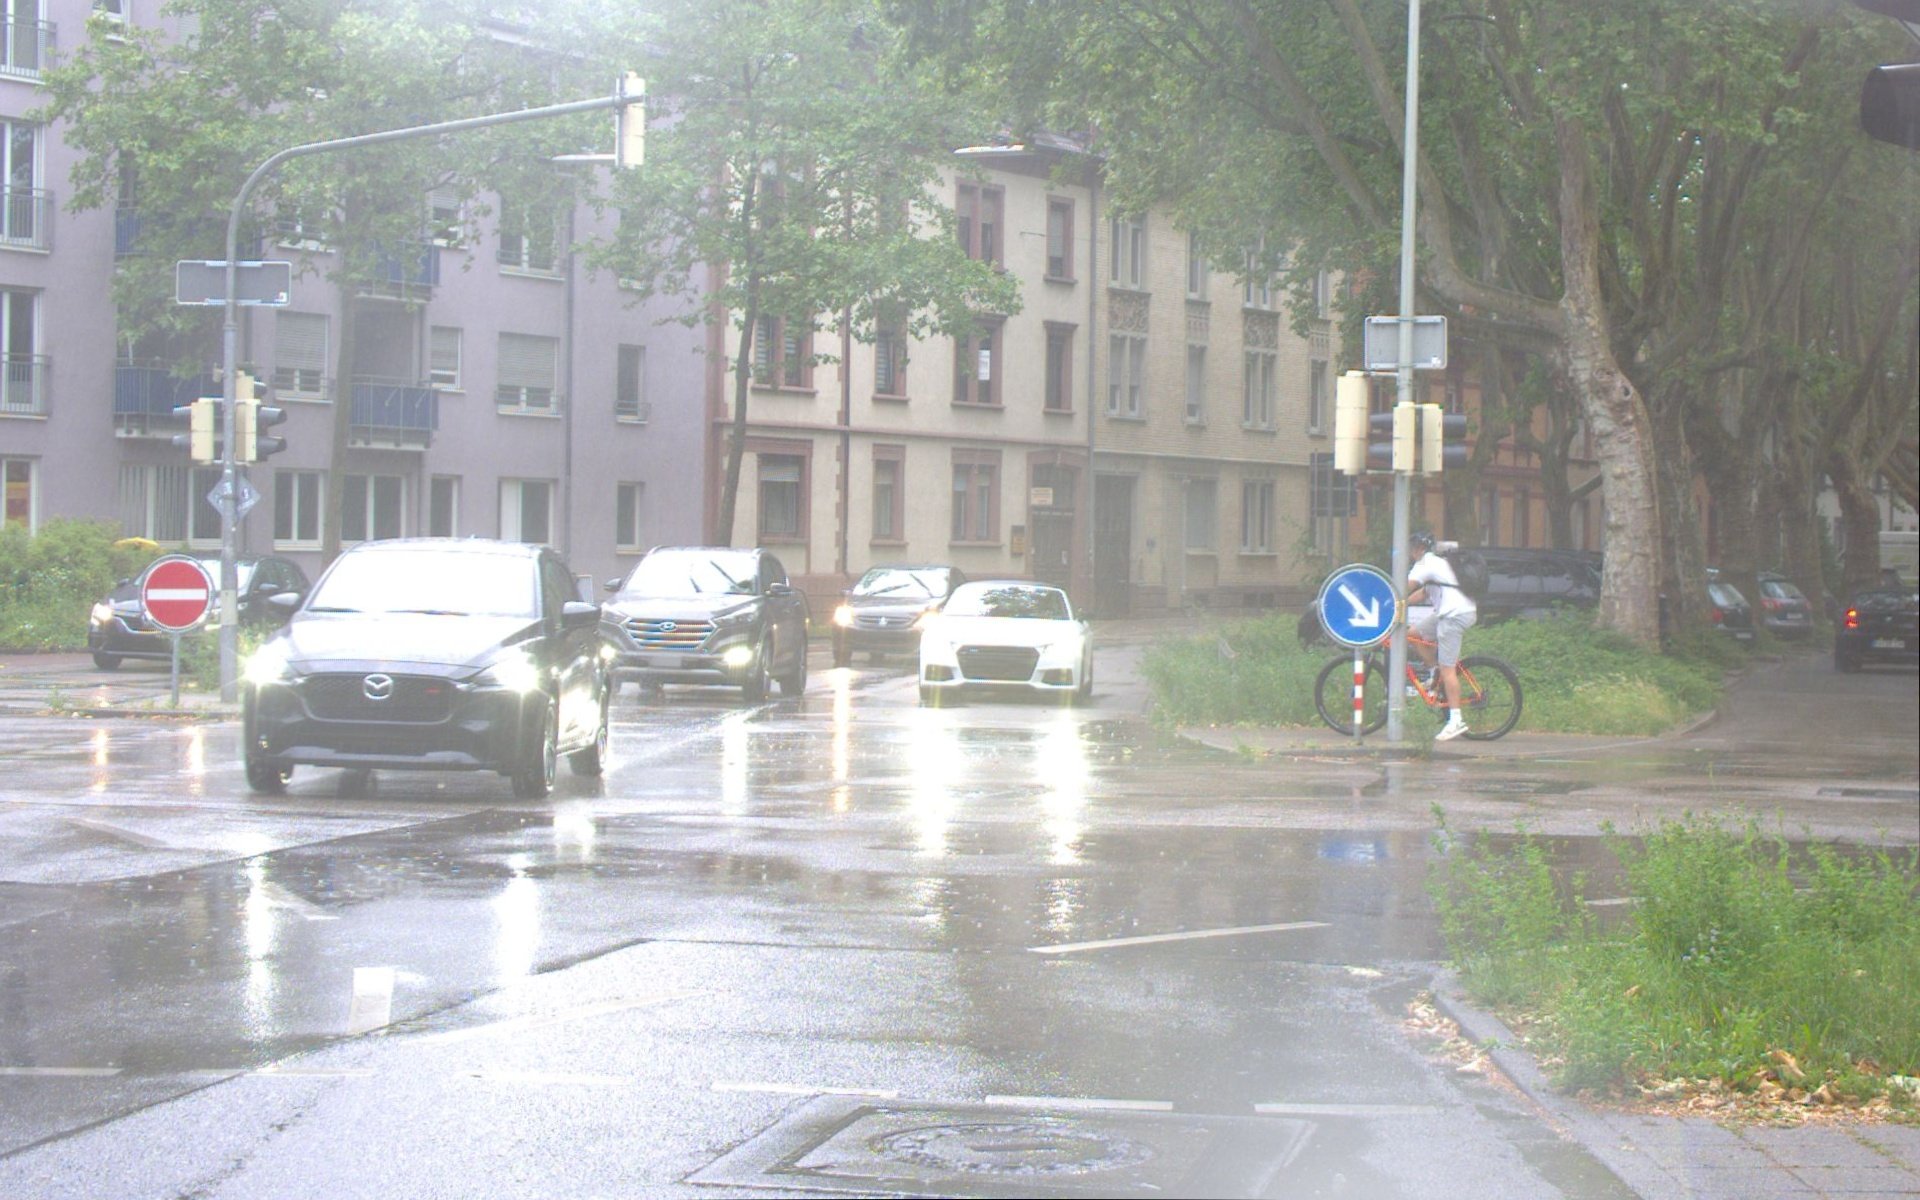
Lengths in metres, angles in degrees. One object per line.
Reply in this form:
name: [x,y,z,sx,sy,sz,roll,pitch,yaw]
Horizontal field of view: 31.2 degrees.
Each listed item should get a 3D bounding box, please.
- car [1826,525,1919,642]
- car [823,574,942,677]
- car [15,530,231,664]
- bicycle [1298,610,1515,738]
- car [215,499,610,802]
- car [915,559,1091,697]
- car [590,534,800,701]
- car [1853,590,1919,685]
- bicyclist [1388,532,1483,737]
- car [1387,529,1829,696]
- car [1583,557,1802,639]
car: [24.394,-0.425,87.727,2.033,2.938,4.773,1,1,-21]
car: [-1.167,0.353,51.757,1.714,1.454,3.748,1,1,-1]
car: [-10.045,-0.067,41.508,1.751,1.506,3.839,1,1,-2]
bicycle: [3.945,0.643,30.409,1.873,1.077,0.657,1,0,8]
car: [-3.130,0.230,20.434,1.751,1.586,4.235,1,1,-2]
car: [0.522,0.278,39.320,1.884,1.431,4.000,1,1,1]
car: [-2.824,0.138,37.531,1.803,1.677,4.603,1,1,1]
car: [15.493,0.582,55.526,1.683,1.469,3.659,1,1,20]
bicyclist: [4.198,0.296,30.374,0.795,1.780,0.697,1,0,8]
car: [6.169,0.100,32.715,3.989,1.481,1.999,1,1,12]
car: [13.939,-0.043,65.447,3.989,1.481,1.999,1,1,12]
